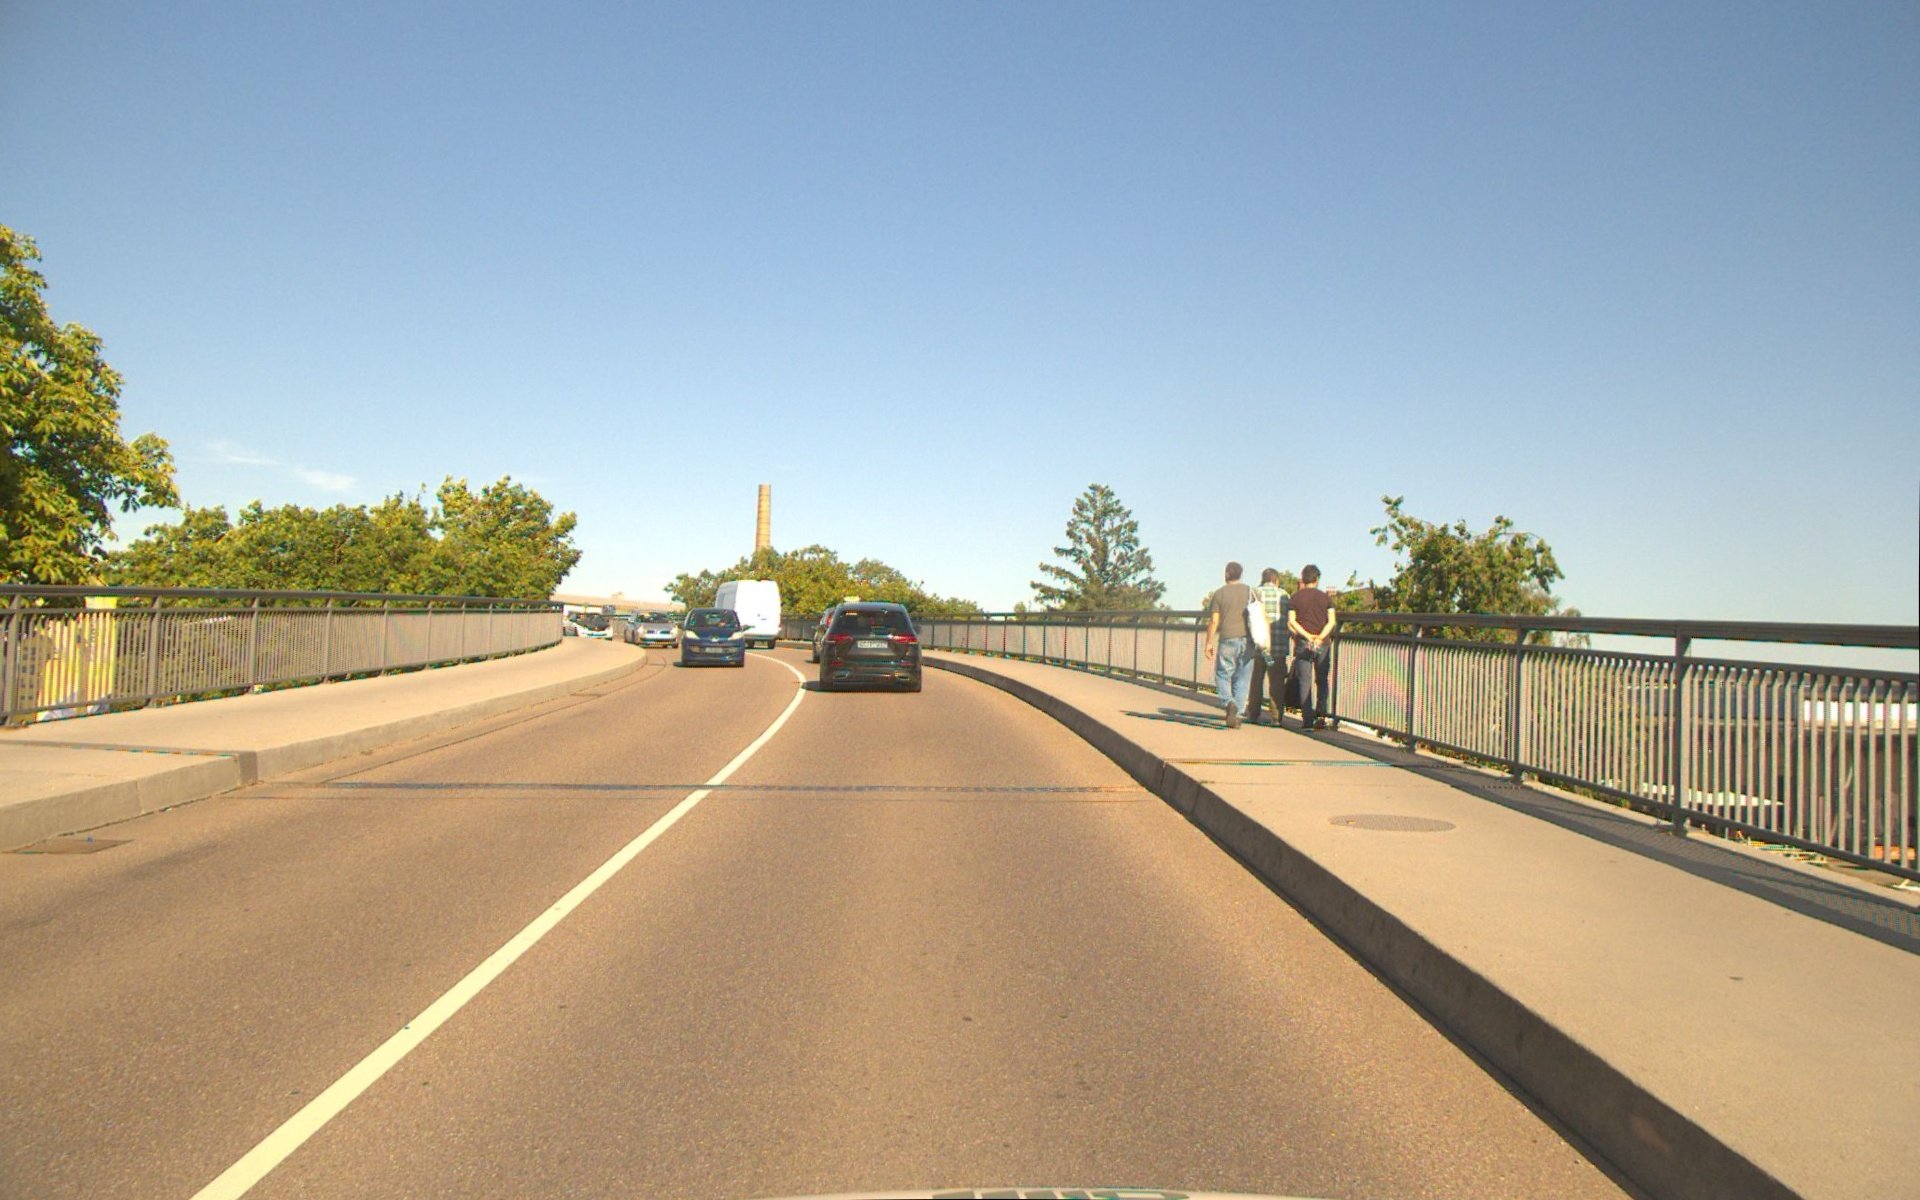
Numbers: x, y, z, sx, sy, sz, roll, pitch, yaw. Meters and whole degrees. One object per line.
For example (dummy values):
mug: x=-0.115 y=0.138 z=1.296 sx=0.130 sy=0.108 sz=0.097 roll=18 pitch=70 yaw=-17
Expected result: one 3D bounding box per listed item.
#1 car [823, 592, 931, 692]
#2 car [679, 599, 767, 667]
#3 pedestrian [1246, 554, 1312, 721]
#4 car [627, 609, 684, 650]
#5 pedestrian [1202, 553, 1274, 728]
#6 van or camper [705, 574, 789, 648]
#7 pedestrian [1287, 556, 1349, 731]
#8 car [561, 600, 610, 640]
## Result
car: x=-1.555 y=0.708 z=29.733 sx=1.735 sy=1.620 sz=3.984 roll=2 pitch=0 yaw=-5
car: x=-6.048 y=0.818 z=42.603 sx=1.734 sy=1.620 sz=3.988 roll=2 pitch=0 yaw=-1
pedestrian: x=3.497 y=0.412 z=18.153 sx=0.538 sy=1.781 sz=0.738 roll=2 pitch=-2 yaw=-1
car: x=-11.961 y=1.185 z=64.747 sx=1.837 sy=1.472 sz=3.983 roll=2 pitch=-2 yaw=-15
pedestrian: x=2.900 y=0.424 z=17.308 sx=0.590 sy=1.781 sz=0.716 roll=2 pitch=-2 yaw=-1
van or camper: x=-8.786 y=0.537 z=67.679 sx=2.191 sy=2.787 sz=7.046 roll=2 pitch=-2 yaw=-17
pedestrian: x=3.729 y=0.455 z=17.267 sx=0.462 sy=1.781 sz=0.653 roll=2 pitch=-2 yaw=-1
car: x=-18.891 y=0.977 z=83.352 sx=1.822 sy=1.829 sz=3.974 roll=0 pitch=2 yaw=-22
